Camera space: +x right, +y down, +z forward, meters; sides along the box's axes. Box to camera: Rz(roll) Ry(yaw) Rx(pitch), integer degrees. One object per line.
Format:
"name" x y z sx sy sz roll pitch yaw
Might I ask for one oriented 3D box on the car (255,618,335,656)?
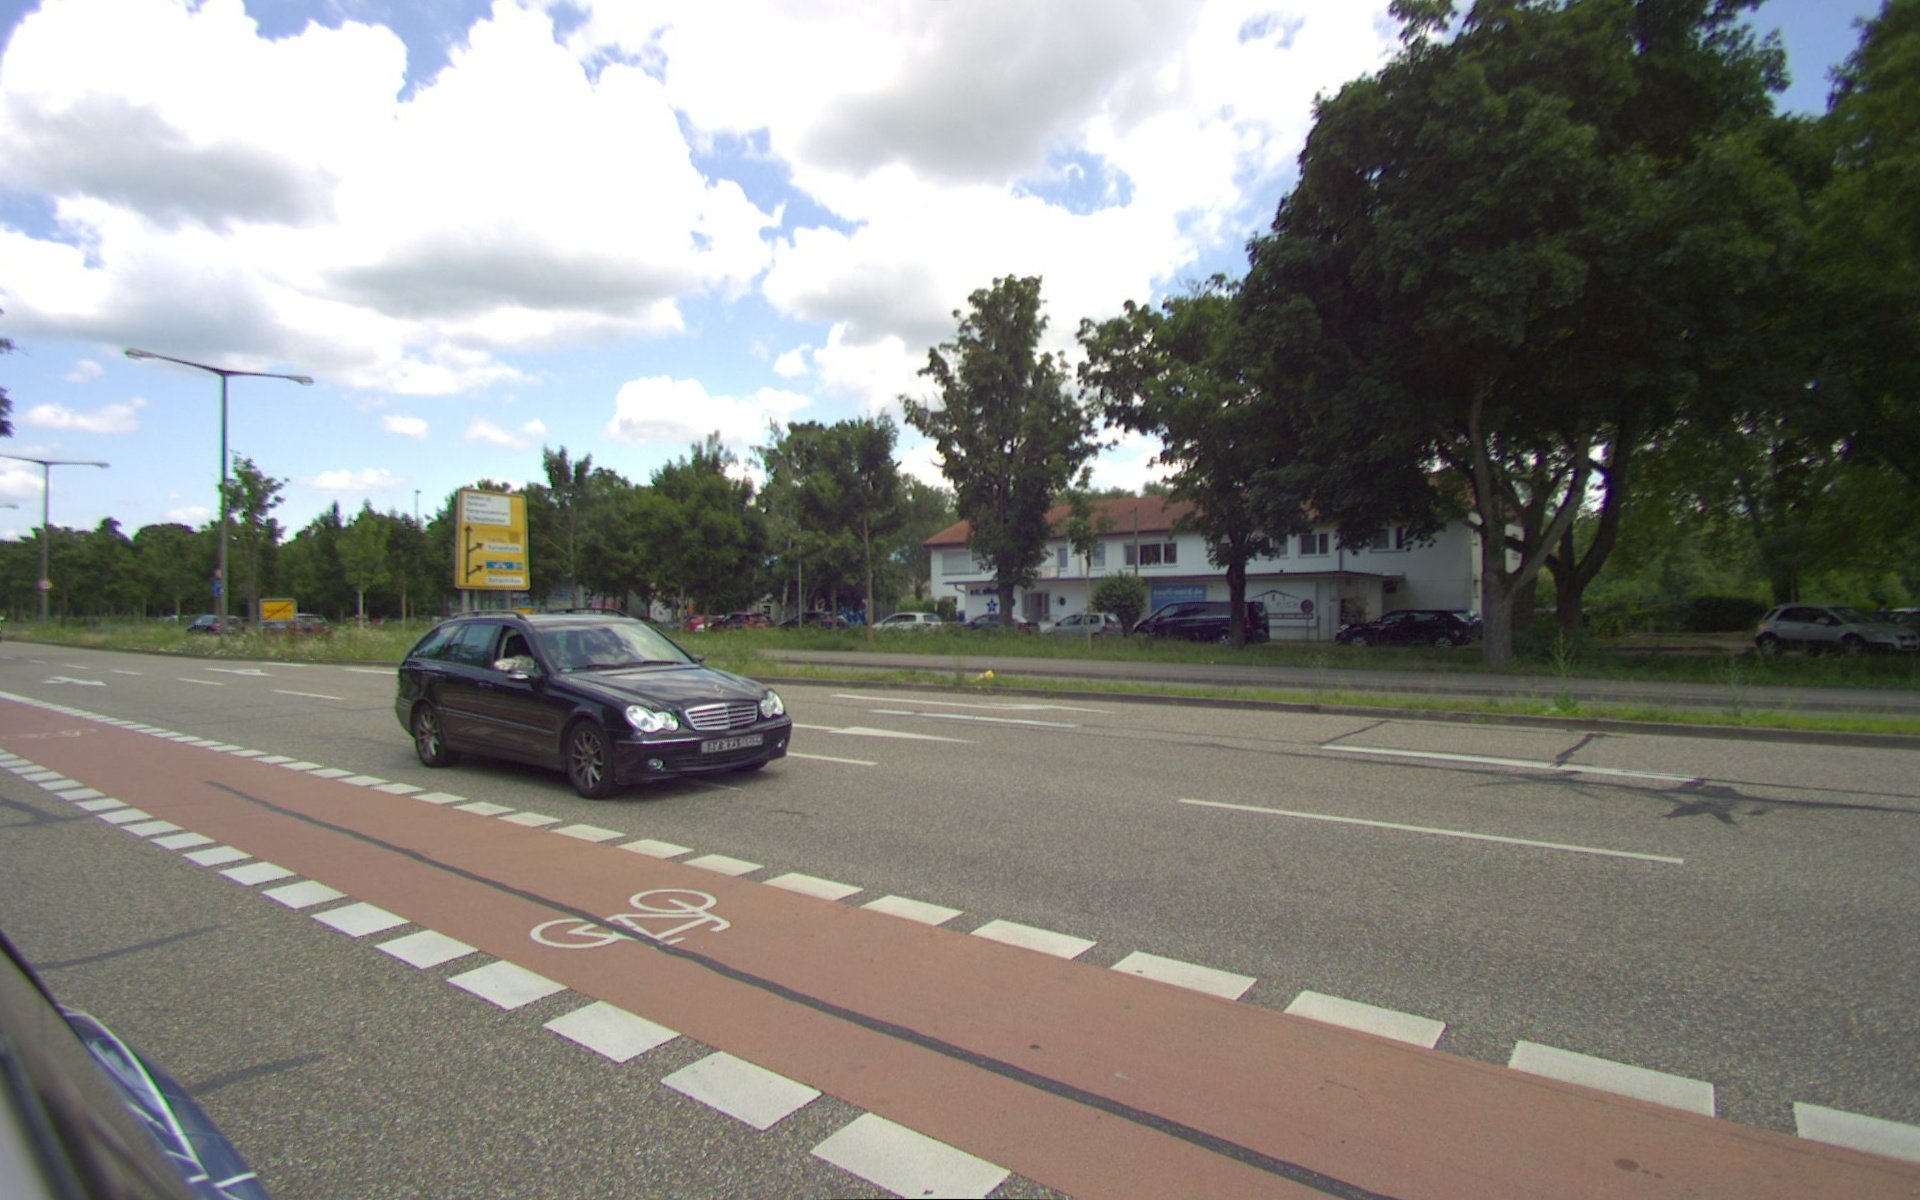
"car" -27.001 1.467 41.049 3.689 1.457 1.665 -1 -2 39

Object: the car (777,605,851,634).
"car" -7.651 1.024 52.884 3.864 1.422 1.707 -1 -2 41

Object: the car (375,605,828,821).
"car" -3.376 0.812 9.105 4.427 1.477 1.738 -1 0 38

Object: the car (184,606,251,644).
"car" -41.238 1.374 56.192 3.994 2.029 1.974 -1 -2 38

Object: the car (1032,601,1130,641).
"car" 5.069 0.879 42.528 3.664 1.600 1.896 -1 -2 41

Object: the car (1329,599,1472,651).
"car" 15.051 0.832 34.633 4.347 1.670 1.794 -1 0 30

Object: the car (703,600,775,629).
"car" -12.468 0.824 57.058 4.021 1.600 1.973 -1 -2 41

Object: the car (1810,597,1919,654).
"car" 27.754 0.731 29.578 1.966 1.600 4.033 0 -1 -14

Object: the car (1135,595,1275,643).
"car" 9.285 0.751 38.608 4.927 1.724 1.863 -1 -2 41

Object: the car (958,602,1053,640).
"car" 1.985 0.950 45.080 4.021 1.600 1.740 -1 -2 41

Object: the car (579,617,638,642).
"car" -23.445 1.938 67.429 4.021 1.600 1.973 -1 -2 41

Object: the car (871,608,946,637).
"car" -2.508 1.098 48.590 3.475 1.342 1.604 -1 -2 41

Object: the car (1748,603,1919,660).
"car" 25.267 0.881 28.860 1.966 1.495 4.033 0 -1 -14

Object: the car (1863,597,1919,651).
"car" 30.038 0.705 30.294 1.966 1.600 4.033 0 -3 -14
